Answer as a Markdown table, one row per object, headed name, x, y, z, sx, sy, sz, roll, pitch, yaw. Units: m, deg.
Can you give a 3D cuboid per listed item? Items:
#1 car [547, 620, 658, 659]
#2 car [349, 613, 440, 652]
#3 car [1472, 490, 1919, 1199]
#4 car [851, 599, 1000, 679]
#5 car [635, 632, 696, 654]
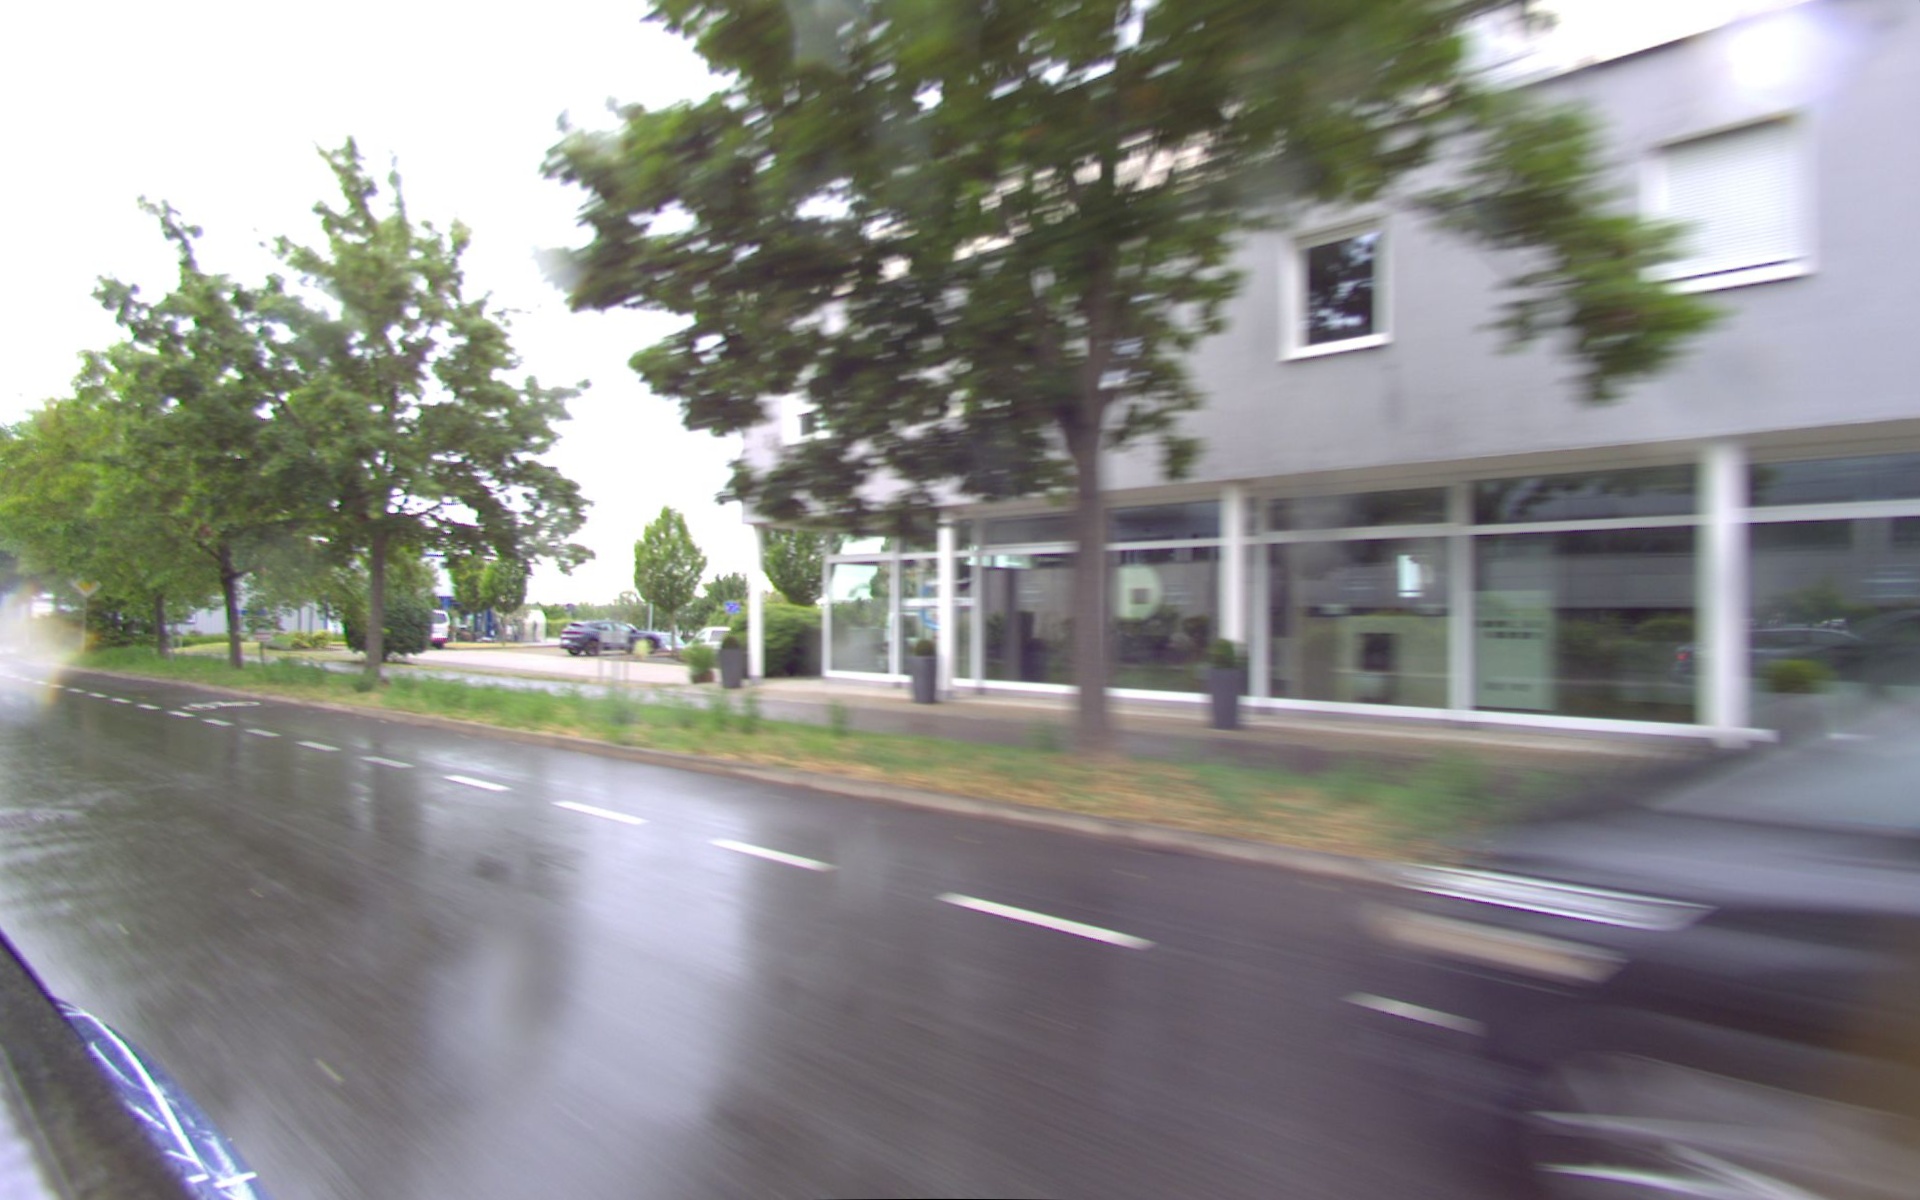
| name | x | y | z | sx | sy | sz | roll | pitch | yaw |
| --- | --- | --- | --- | --- | --- | --- | --- | --- | --- |
| car | -15.626 | 1.703 | 44.326 | 4.105 | 1.568 | 2.123 | 0 | -1 | -44 |
| car | -28.086 | 1.628 | 50.156 | 5.602 | 1.836 | 2.014 | -2 | -1 | 39 |
| car | 3.394 | 0.548 | 1.351 | 4.500 | 1.566 | 1.831 | -2 | -2 | 42 |
| car | -1.030 | 1.171 | 31.780 | 2.184 | 2.328 | 4.429 | -2 | -2 | 42 |
| car | -14.647 | 2.153 | 50.277 | 3.169 | 1.032 | 1.340 | -2 | -1 | 39 |
